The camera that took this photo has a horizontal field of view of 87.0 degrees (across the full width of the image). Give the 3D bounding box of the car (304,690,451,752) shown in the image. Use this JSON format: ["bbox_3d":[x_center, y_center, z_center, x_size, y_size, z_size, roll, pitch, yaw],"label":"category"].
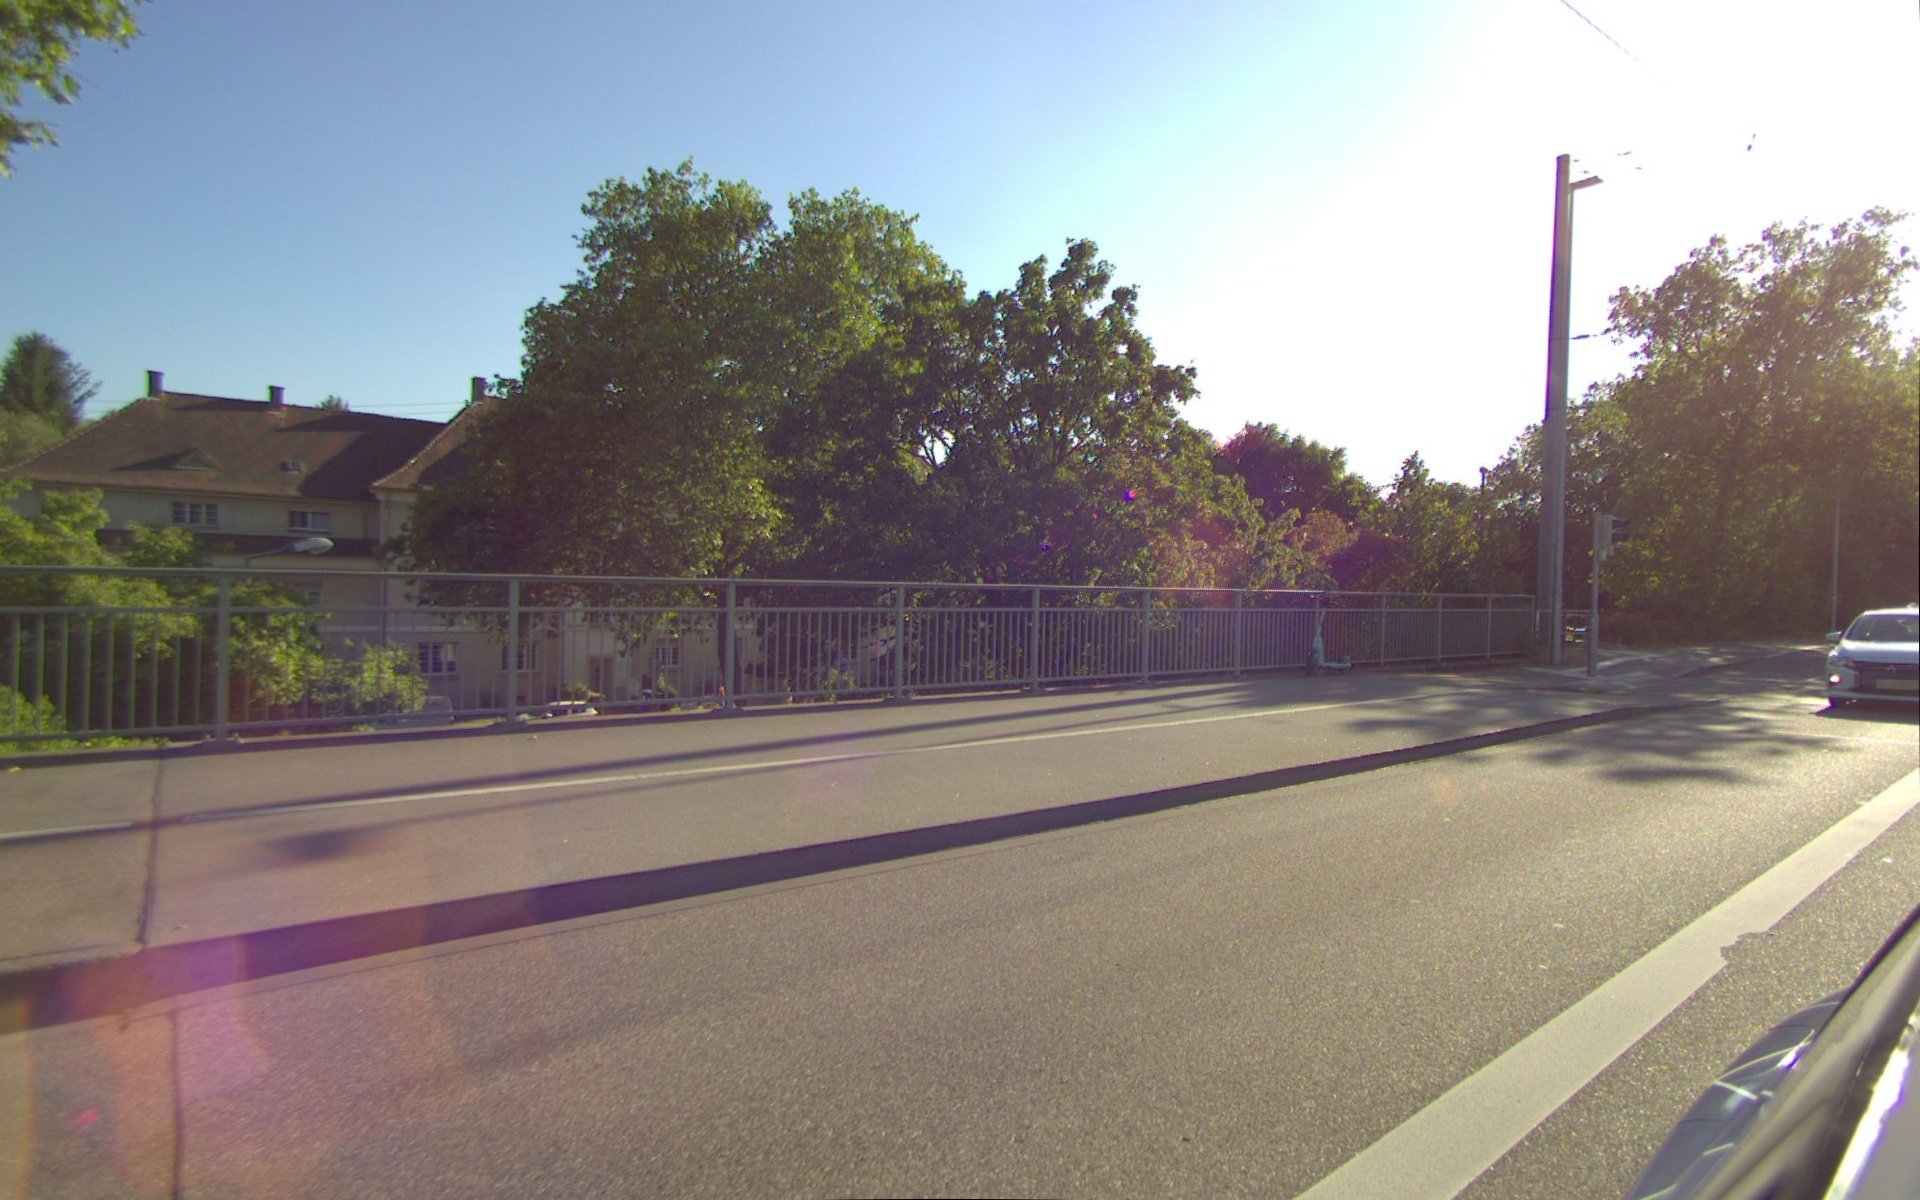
[{"bbox_3d":[-22.761,4.671,39.647,4.744,2.054,1.851,1,-4,-41],"label":"car"}]

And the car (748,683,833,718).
[{"bbox_3d":[-8.682,5.129,52.006,4.002,1.556,1.712,0,-4,-41],"label":"car"}]

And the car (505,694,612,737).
[{"bbox_3d":[-17.443,4.987,44.075,4.002,1.556,1.712,0,-4,-41],"label":"car"}]

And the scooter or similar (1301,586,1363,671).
[{"bbox_3d":[5.886,0.442,16.015,1.064,1.291,0.427,1,1,-40],"label":"scooter or similar"}]

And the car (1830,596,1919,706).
[{"bbox_3d":[14.534,0.707,15.166,3.677,1.492,1.670,0,0,-39],"label":"car"}]

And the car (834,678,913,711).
[{"bbox_3d":[-4.703,5.143,55.234,4.002,1.556,1.712,0,-4,-41],"label":"car"}]
